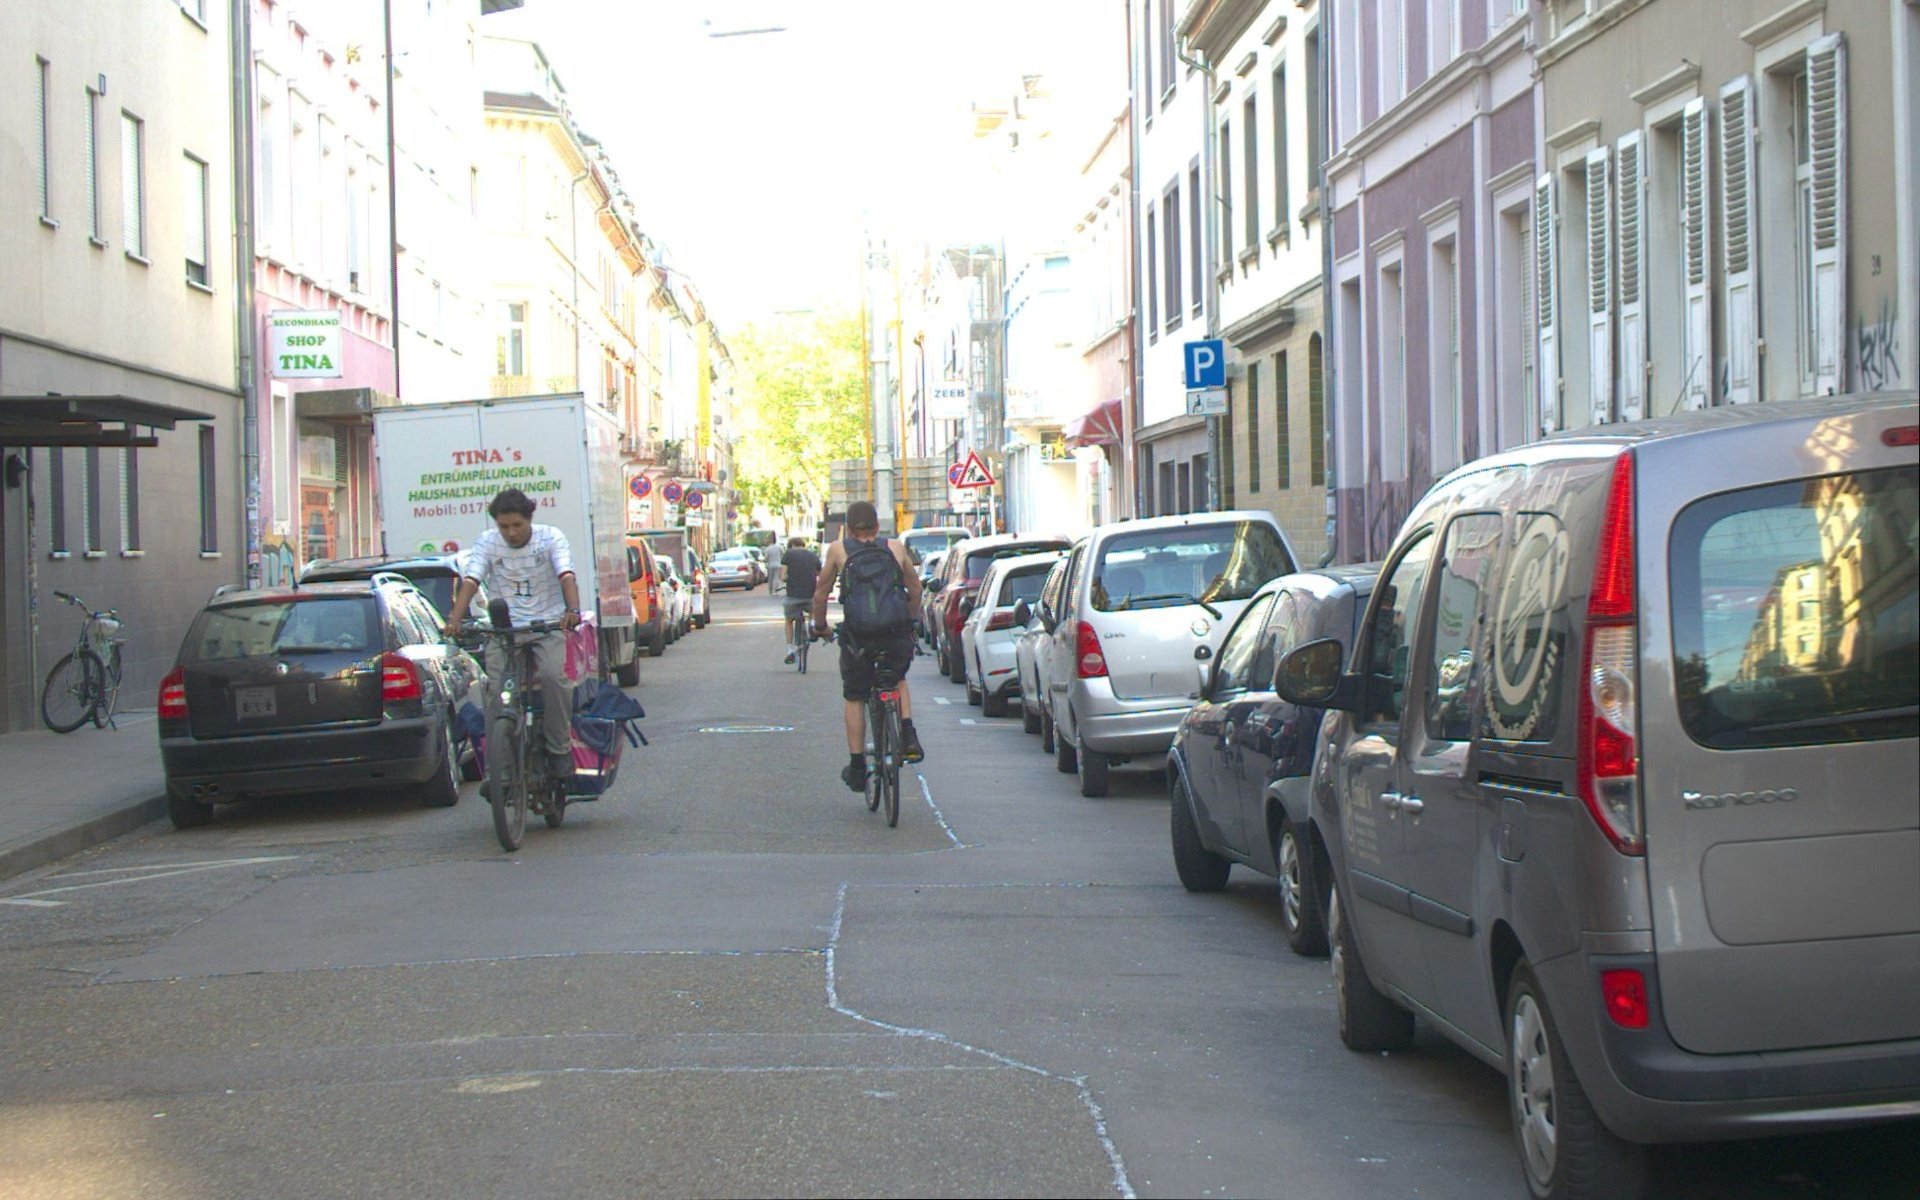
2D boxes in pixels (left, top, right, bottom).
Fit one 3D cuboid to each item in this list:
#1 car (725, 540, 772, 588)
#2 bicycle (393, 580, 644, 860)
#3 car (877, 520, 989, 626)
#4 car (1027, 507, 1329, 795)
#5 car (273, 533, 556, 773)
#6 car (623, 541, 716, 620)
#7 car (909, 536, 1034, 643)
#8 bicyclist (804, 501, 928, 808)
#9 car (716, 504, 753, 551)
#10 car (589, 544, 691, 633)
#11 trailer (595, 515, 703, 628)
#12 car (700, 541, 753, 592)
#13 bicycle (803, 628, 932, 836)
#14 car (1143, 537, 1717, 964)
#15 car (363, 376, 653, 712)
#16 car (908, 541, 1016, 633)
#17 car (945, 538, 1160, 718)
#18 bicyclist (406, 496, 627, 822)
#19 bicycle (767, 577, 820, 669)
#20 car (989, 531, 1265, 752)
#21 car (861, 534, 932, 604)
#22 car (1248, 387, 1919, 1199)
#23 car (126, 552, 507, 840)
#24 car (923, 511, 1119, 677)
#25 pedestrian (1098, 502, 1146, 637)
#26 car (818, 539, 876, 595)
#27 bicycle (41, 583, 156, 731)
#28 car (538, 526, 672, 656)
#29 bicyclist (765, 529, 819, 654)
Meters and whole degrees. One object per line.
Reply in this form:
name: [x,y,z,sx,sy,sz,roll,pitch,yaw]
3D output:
car: [-8.501,-1.451,138.572,1.750,1.815,3.796,-2,1,-3]
bicycle: [-2.306,0.588,18.326,0.977,1.310,2.555,-2,1,0]
car: [-0.535,-0.513,64.694,1.750,1.872,3.973,-2,1,-5]
car: [1.332,0.286,22.211,1.556,1.706,3.559,0,0,-3]
car: [-4.332,0.355,27.855,1.716,1.644,4.246,-4,2,-3]
car: [-6.071,-0.416,72.097,1.750,1.567,3.796,-2,1,-3]
car: [0.140,-0.177,53.730,1.646,1.470,3.971,-5,1,-2]
bicyclist: [-0.533,0.291,19.221,0.667,1.671,1.097,0,0,-3]
car: [-11.654,-3.727,178.017,1.750,2.310,3.796,-2,0,-3]
car: [-5.867,-0.216,63.358,1.653,1.532,3.635,-2,1,-3]
trailer: [-6.093,-0.562,67.762,1.881,2.085,3.737,-2,1,-3]
car: [-8.210,-1.177,121.075,1.750,1.678,3.796,-2,1,-3]
bicycle: [-0.533,0.711,19.244,0.677,1.071,1.942,0,0,-3]
car: [1.768,0.517,13.986,1.552,1.506,3.612,0,0,-5]
car: [-4.891,-0.604,38.361,2.343,3.280,7.155,-3,1,-2]
car: [0.009,-0.232,59.648,1.750,1.481,3.800,-2,1,-1]
car: [0.825,0.239,33.058,1.686,1.538,4.047,-3,1,-3]
bicyclist: [-2.319,0.294,18.092,0.950,1.622,0.953,-3,1,0]
bicycle: [-2.105,0.276,43.437,0.648,1.125,2.136,0,0,-3]
car: [1.256,0.287,27.697,1.696,1.538,4.629,-3,1,-3]
car: [-1.528,-0.738,81.860,1.611,1.628,3.610,0,0,-3]
car: [1.991,0.449,9.100,1.899,1.787,4.315,0,0,-3]
car: [-3.989,0.518,22.005,1.716,1.473,4.500,-4,2,-3]
car: [0.673,-0.085,41.142,1.918,1.700,4.366,-5,1,-3]
pedestrian: [2.418,-0.452,51.438,0.644,2.007,0.764,0,0,-3]
car: [-3.245,-0.943,98.294,1.611,1.555,3.610,0,0,-3]
bicycle: [-7.207,0.459,28.820,0.490,1.160,1.773,-3,1,-1]
car: [-5.381,-0.148,52.514,1.752,1.810,4.079,-3,1,-3]
bicyclist: [-2.124,-0.107,43.456,0.671,1.562,0.716,0,0,-4]
